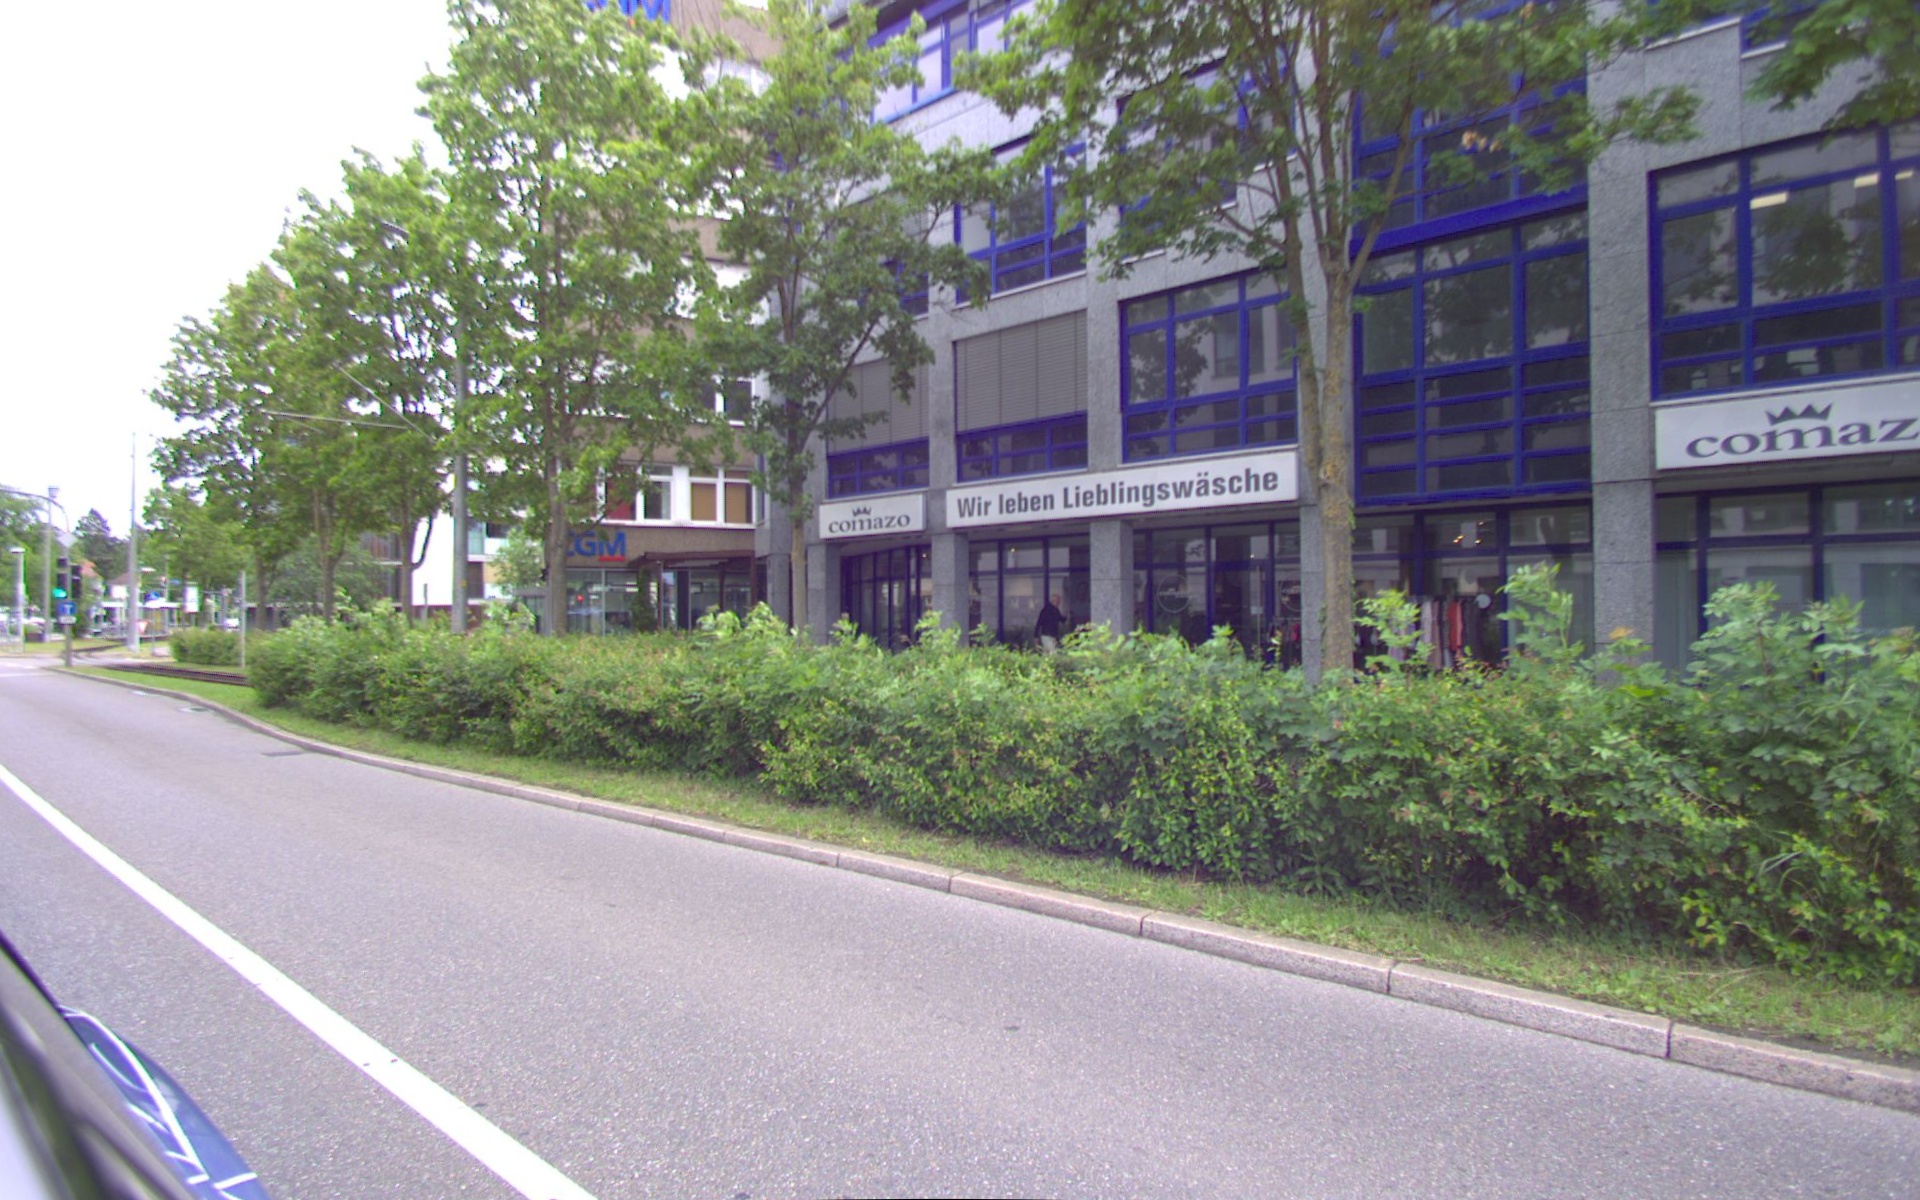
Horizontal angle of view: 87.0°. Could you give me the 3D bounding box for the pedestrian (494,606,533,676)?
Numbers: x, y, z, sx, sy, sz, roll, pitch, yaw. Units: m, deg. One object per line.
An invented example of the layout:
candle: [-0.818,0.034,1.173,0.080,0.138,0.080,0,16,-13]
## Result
pedestrian: [-11.857,1.065,26.890,0.730,1.819,0.672,-1,0,37]

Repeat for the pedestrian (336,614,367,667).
pedestrian: [-22.676,1.484,37.729,0.731,1.938,0.805,-1,0,40]

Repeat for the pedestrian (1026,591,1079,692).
pedestrian: [1.804,0.790,19.728,0.731,1.908,0.766,-1,0,40]

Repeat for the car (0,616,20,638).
car: [-89.808,2.490,94.425,1.965,2.029,4.013,0,0,-25]
